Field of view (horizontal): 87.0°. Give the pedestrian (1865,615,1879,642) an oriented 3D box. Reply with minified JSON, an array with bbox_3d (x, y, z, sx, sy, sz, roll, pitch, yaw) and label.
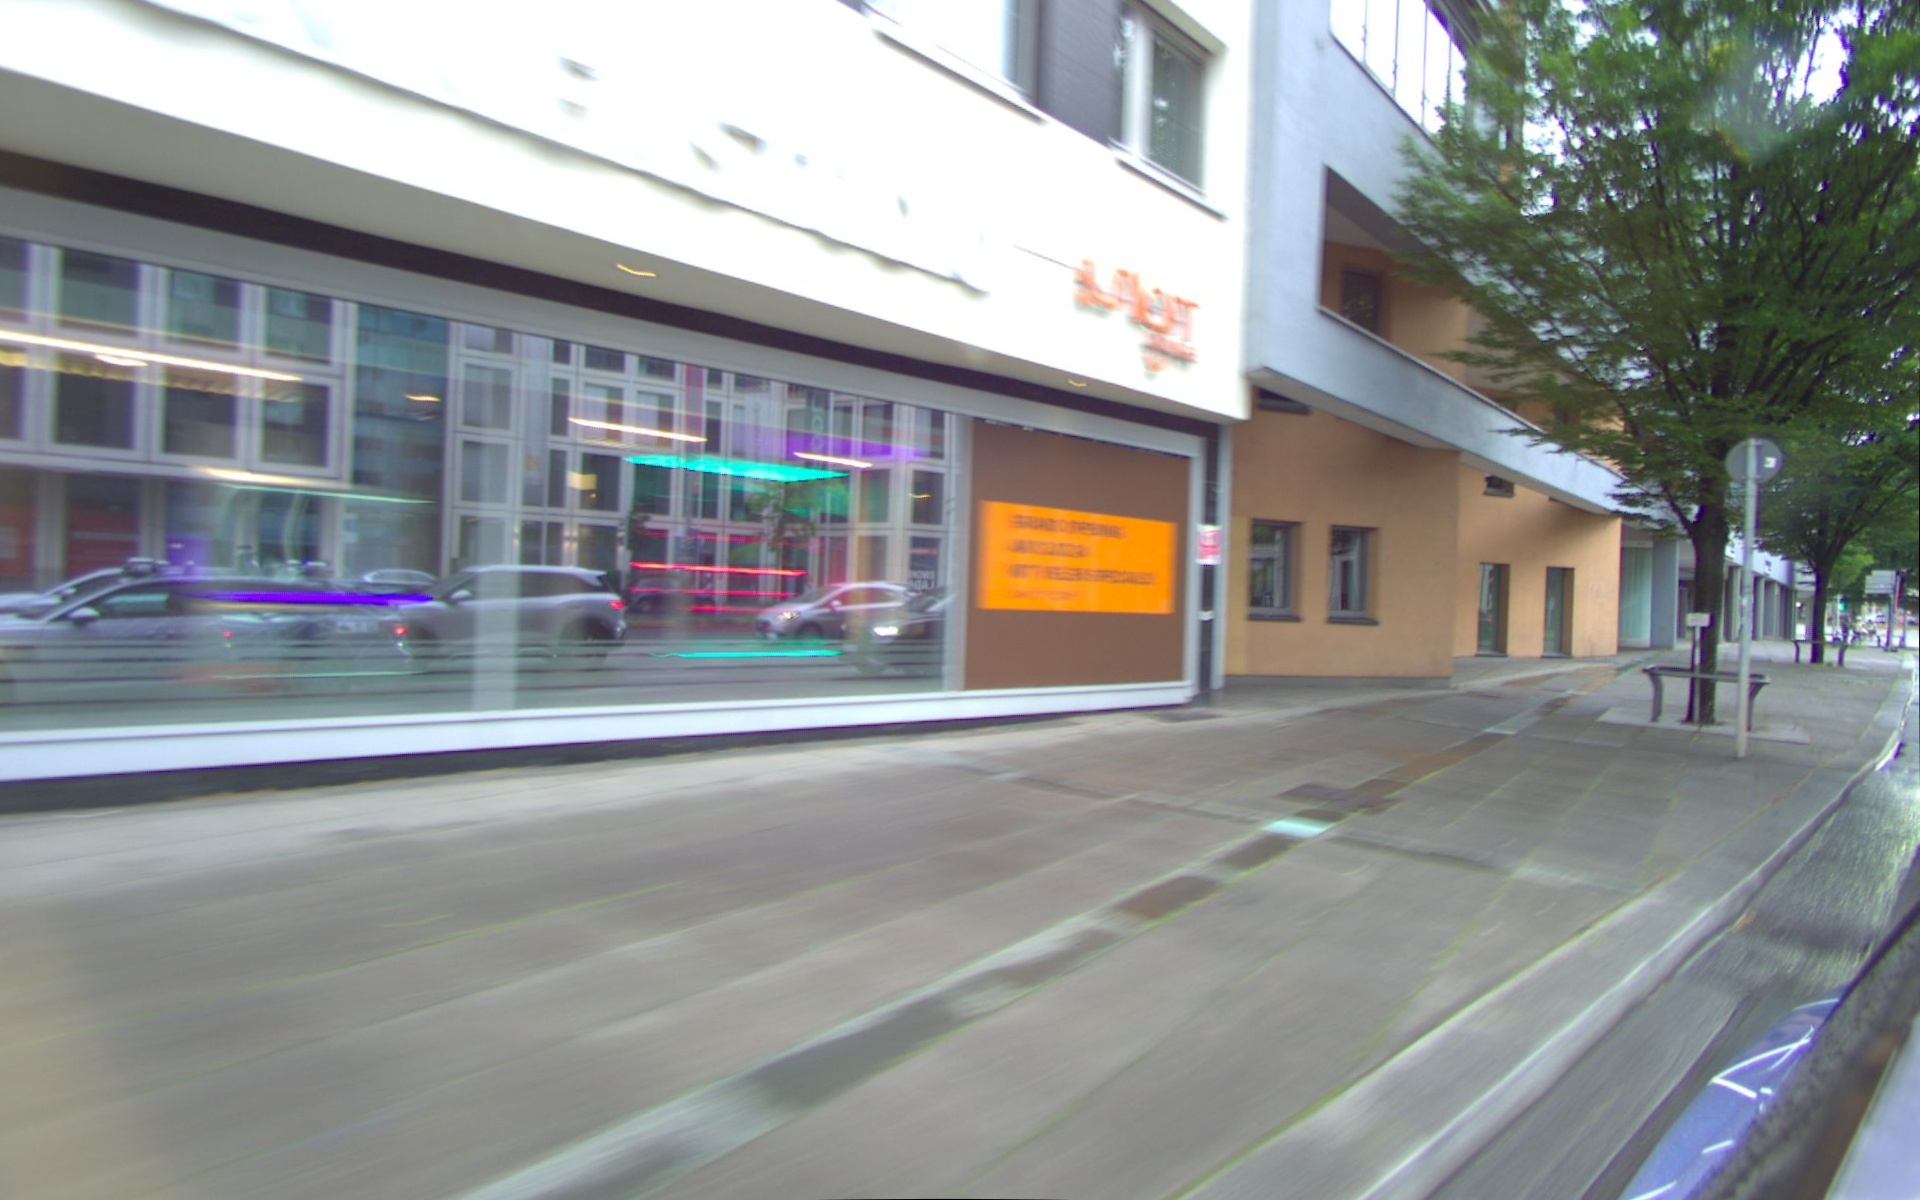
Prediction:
[{"bbox_3d":[60.814,1.895,67.477,0.639,1.805,0.866,0,-2,45],"label":"pedestrian"}]

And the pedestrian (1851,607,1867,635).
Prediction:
[{"bbox_3d":[59.678,1.387,67.204,0.791,1.805,0.881,0,-2,42],"label":"pedestrian"}]

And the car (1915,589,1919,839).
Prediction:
[{"bbox_3d":[8.276,0.723,6.955,4.306,1.571,1.802,0,0,-37],"label":"car"}]

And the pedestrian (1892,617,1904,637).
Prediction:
[{"bbox_3d":[77.829,2.254,83.980,0.651,1.618,1.044,0,0,39],"label":"pedestrian"}]
